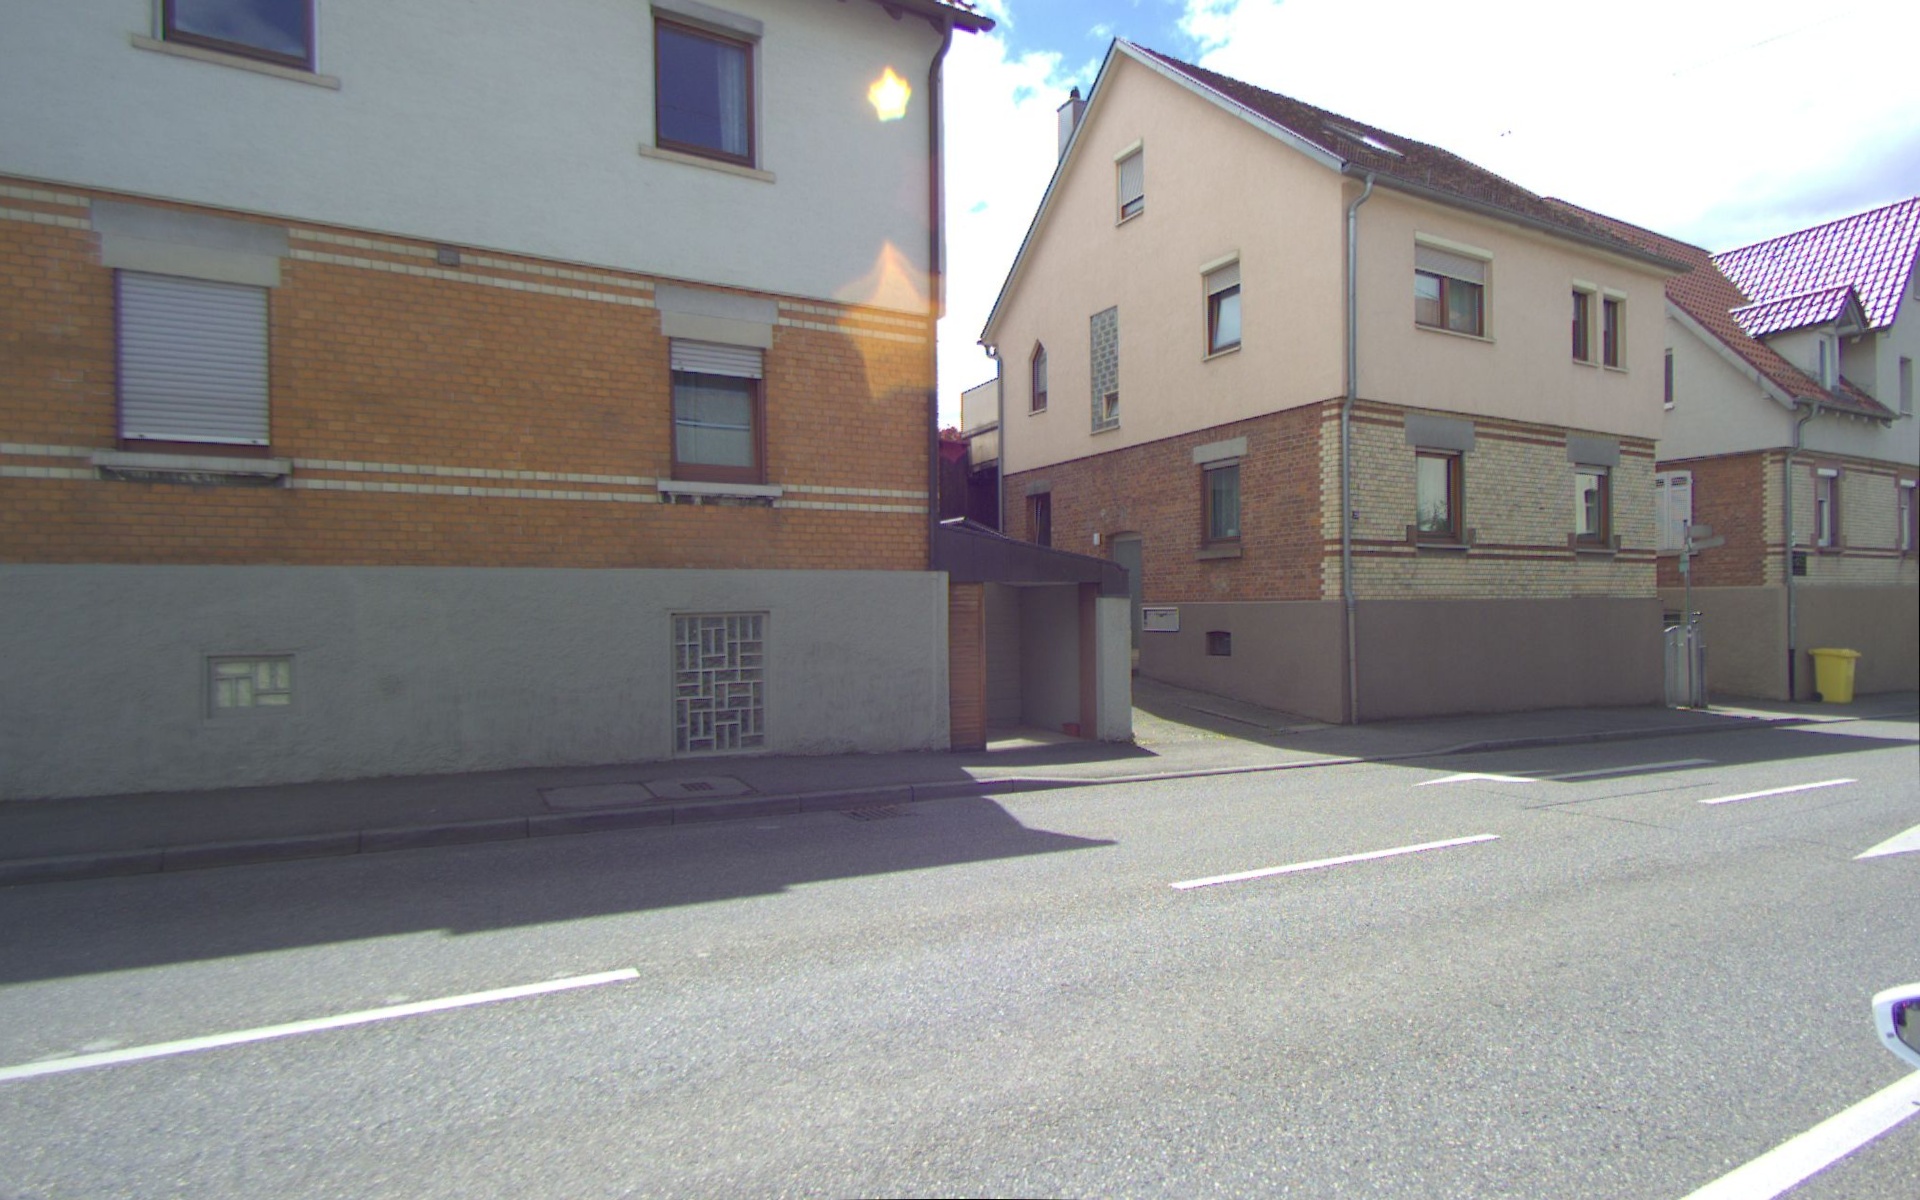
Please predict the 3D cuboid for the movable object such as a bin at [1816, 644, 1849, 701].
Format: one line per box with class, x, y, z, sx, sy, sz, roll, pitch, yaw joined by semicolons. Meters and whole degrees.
movable object such as a bin;17.841;1.476;20.537;0.296;1.143;0.429;1;-2;-31
